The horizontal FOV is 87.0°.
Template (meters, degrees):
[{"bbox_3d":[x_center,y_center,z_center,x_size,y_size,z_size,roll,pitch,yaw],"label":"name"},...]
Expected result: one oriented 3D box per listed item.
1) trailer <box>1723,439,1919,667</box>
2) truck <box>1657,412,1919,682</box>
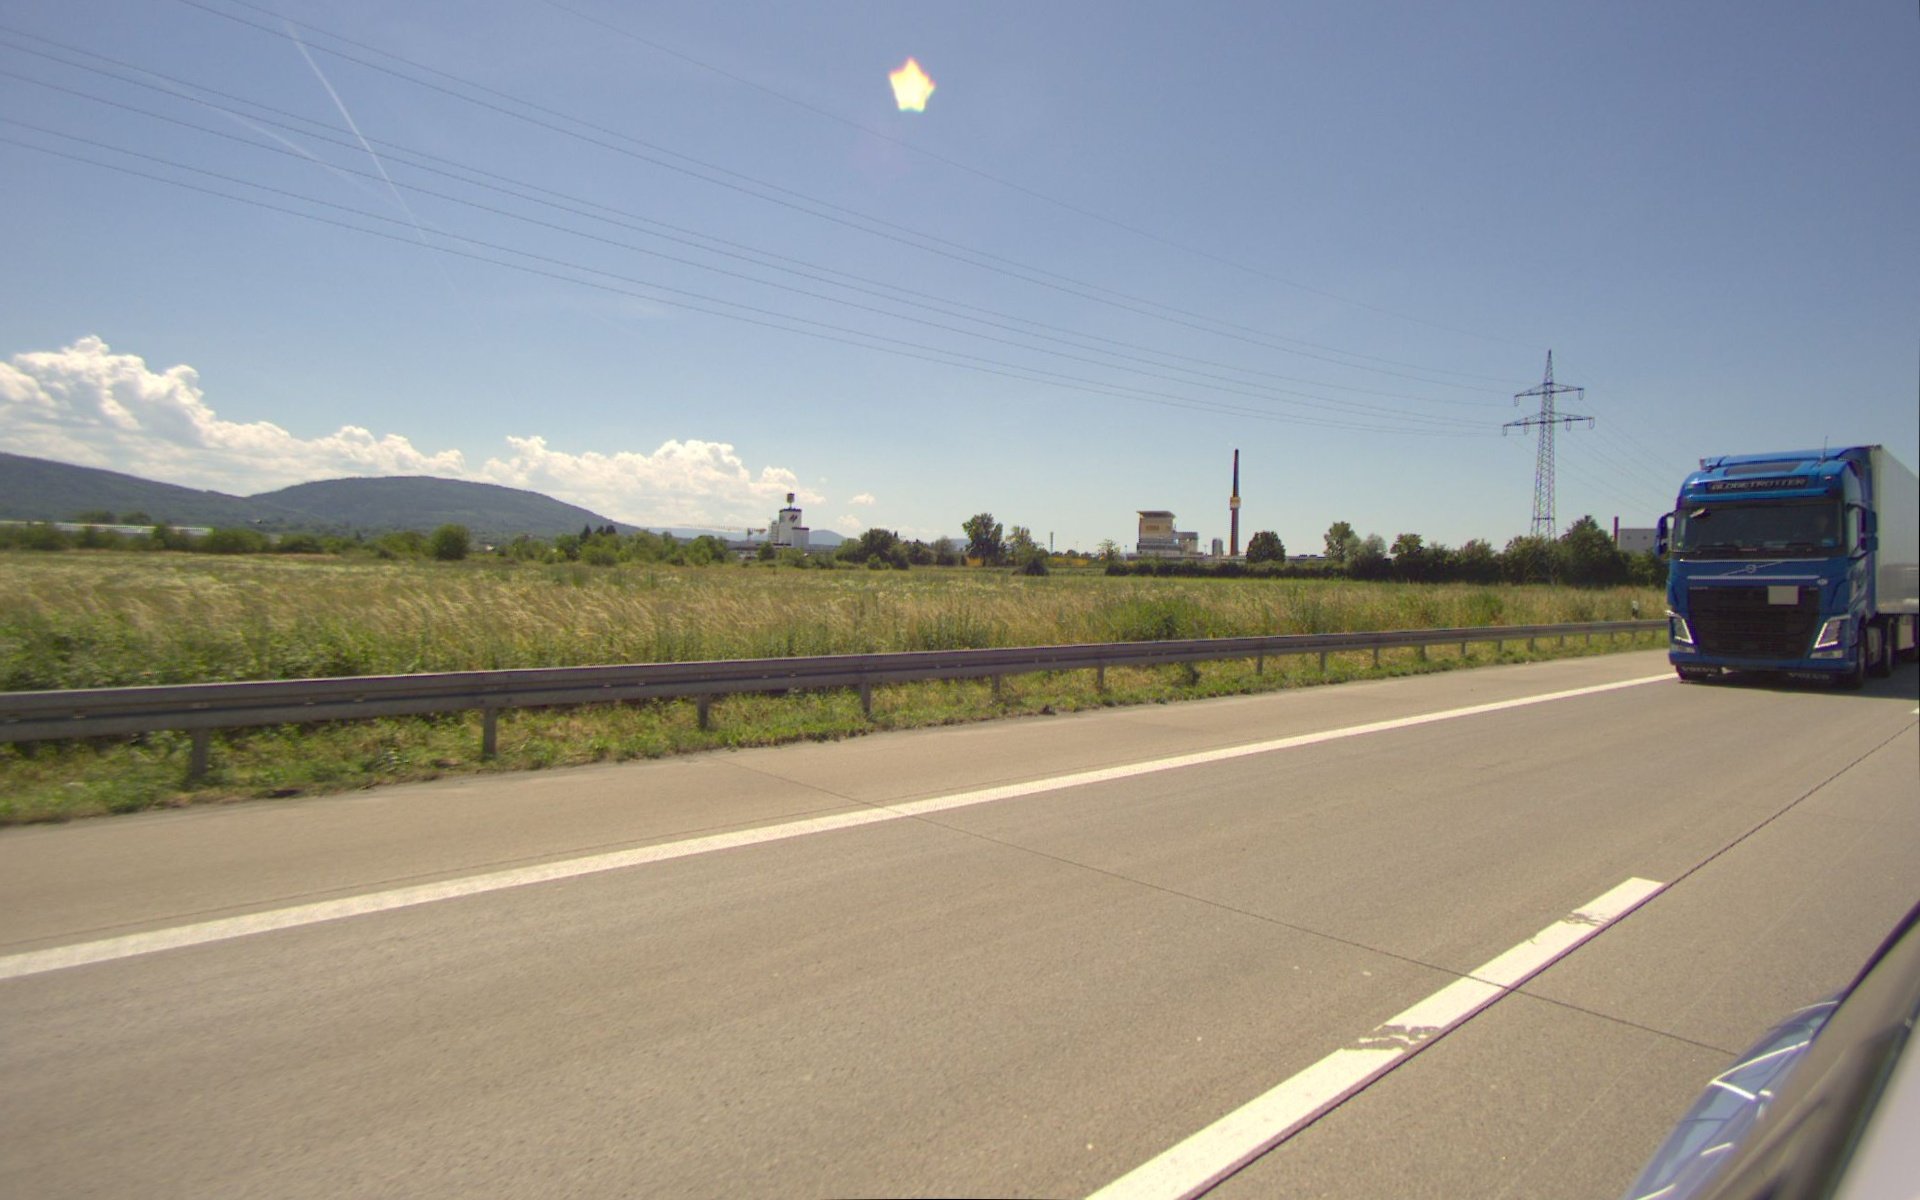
[{"bbox_3d":[20.834,-0.897,23.378,12.680,4.095,2.713,0,0,-42],"label":"trailer"},{"bbox_3d":[14.963,-0.831,18.186,5.370,4.095,2.755,0,0,-41],"label":"truck"}]
